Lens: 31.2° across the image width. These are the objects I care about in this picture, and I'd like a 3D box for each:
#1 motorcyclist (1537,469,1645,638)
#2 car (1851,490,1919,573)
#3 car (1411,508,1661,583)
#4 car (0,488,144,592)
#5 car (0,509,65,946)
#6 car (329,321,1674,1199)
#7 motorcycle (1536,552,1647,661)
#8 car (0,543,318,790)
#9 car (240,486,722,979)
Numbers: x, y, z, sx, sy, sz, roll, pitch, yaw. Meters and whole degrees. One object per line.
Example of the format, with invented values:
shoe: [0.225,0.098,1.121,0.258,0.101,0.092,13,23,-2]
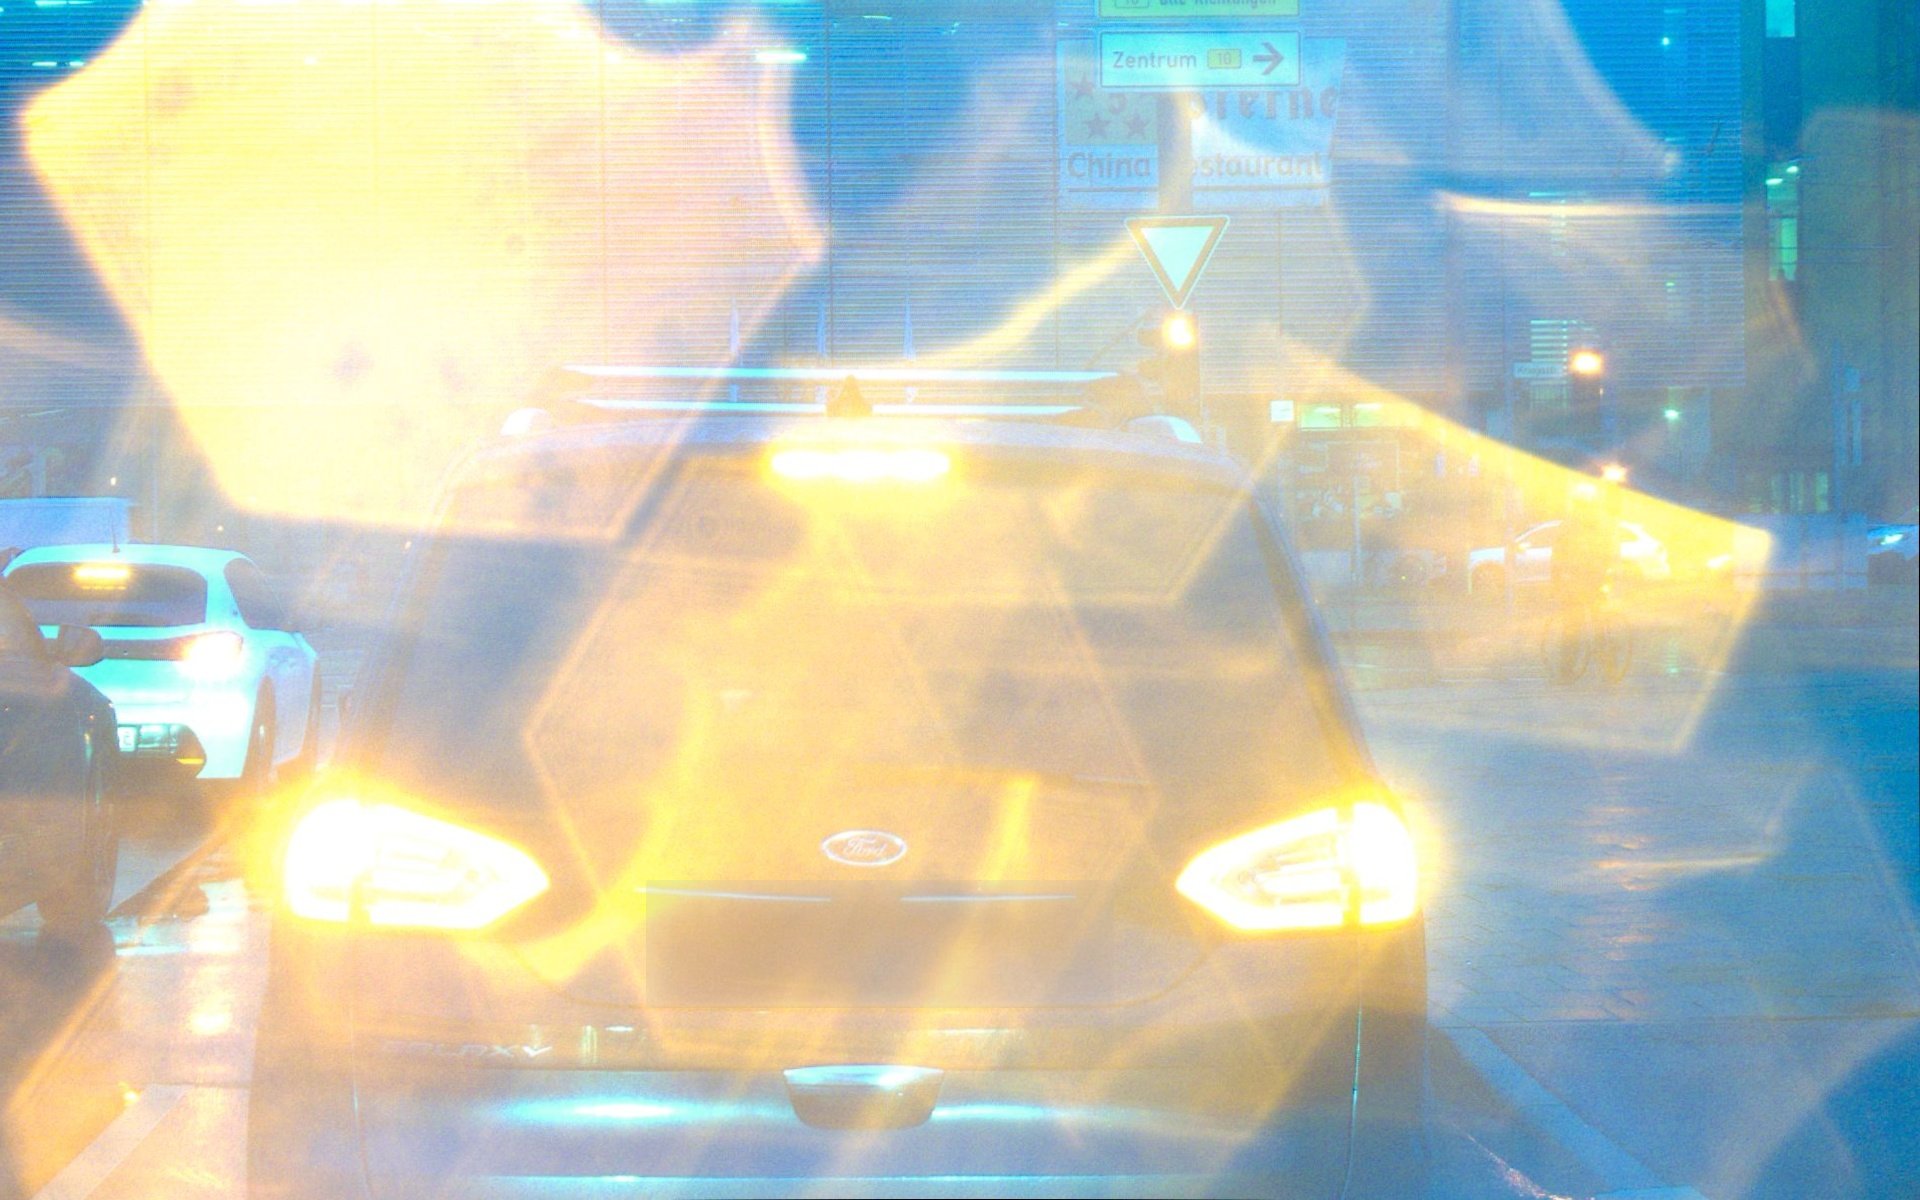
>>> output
motorcyclist: [5.802,-0.431,31.659,0.868,1.529,1.108,0,1,5]
car: [19.834,-1.352,66.973,4.418,1.589,1.800,-1,1,-7]
car: [11.090,-1.053,66.358,4.418,1.385,1.800,-1,1,-7]
car: [-18.572,-1.167,67.339,4.838,1.993,1.800,-1,1,-7]
car: [-4.263,0.477,11.524,1.752,1.568,4.001,-1,1,-4]
car: [-0.052,0.481,6.643,1.735,1.732,4.247,2,1,-3]
motorcycle: [5.801,0.048,31.653,0.853,0.968,1.581,0,1,5]
car: [-4.518,0.303,19.502,1.540,1.247,4.069,0,1,-8]
car: [-1.806,0.434,13.687,1.636,1.691,3.671,1,1,-5]
